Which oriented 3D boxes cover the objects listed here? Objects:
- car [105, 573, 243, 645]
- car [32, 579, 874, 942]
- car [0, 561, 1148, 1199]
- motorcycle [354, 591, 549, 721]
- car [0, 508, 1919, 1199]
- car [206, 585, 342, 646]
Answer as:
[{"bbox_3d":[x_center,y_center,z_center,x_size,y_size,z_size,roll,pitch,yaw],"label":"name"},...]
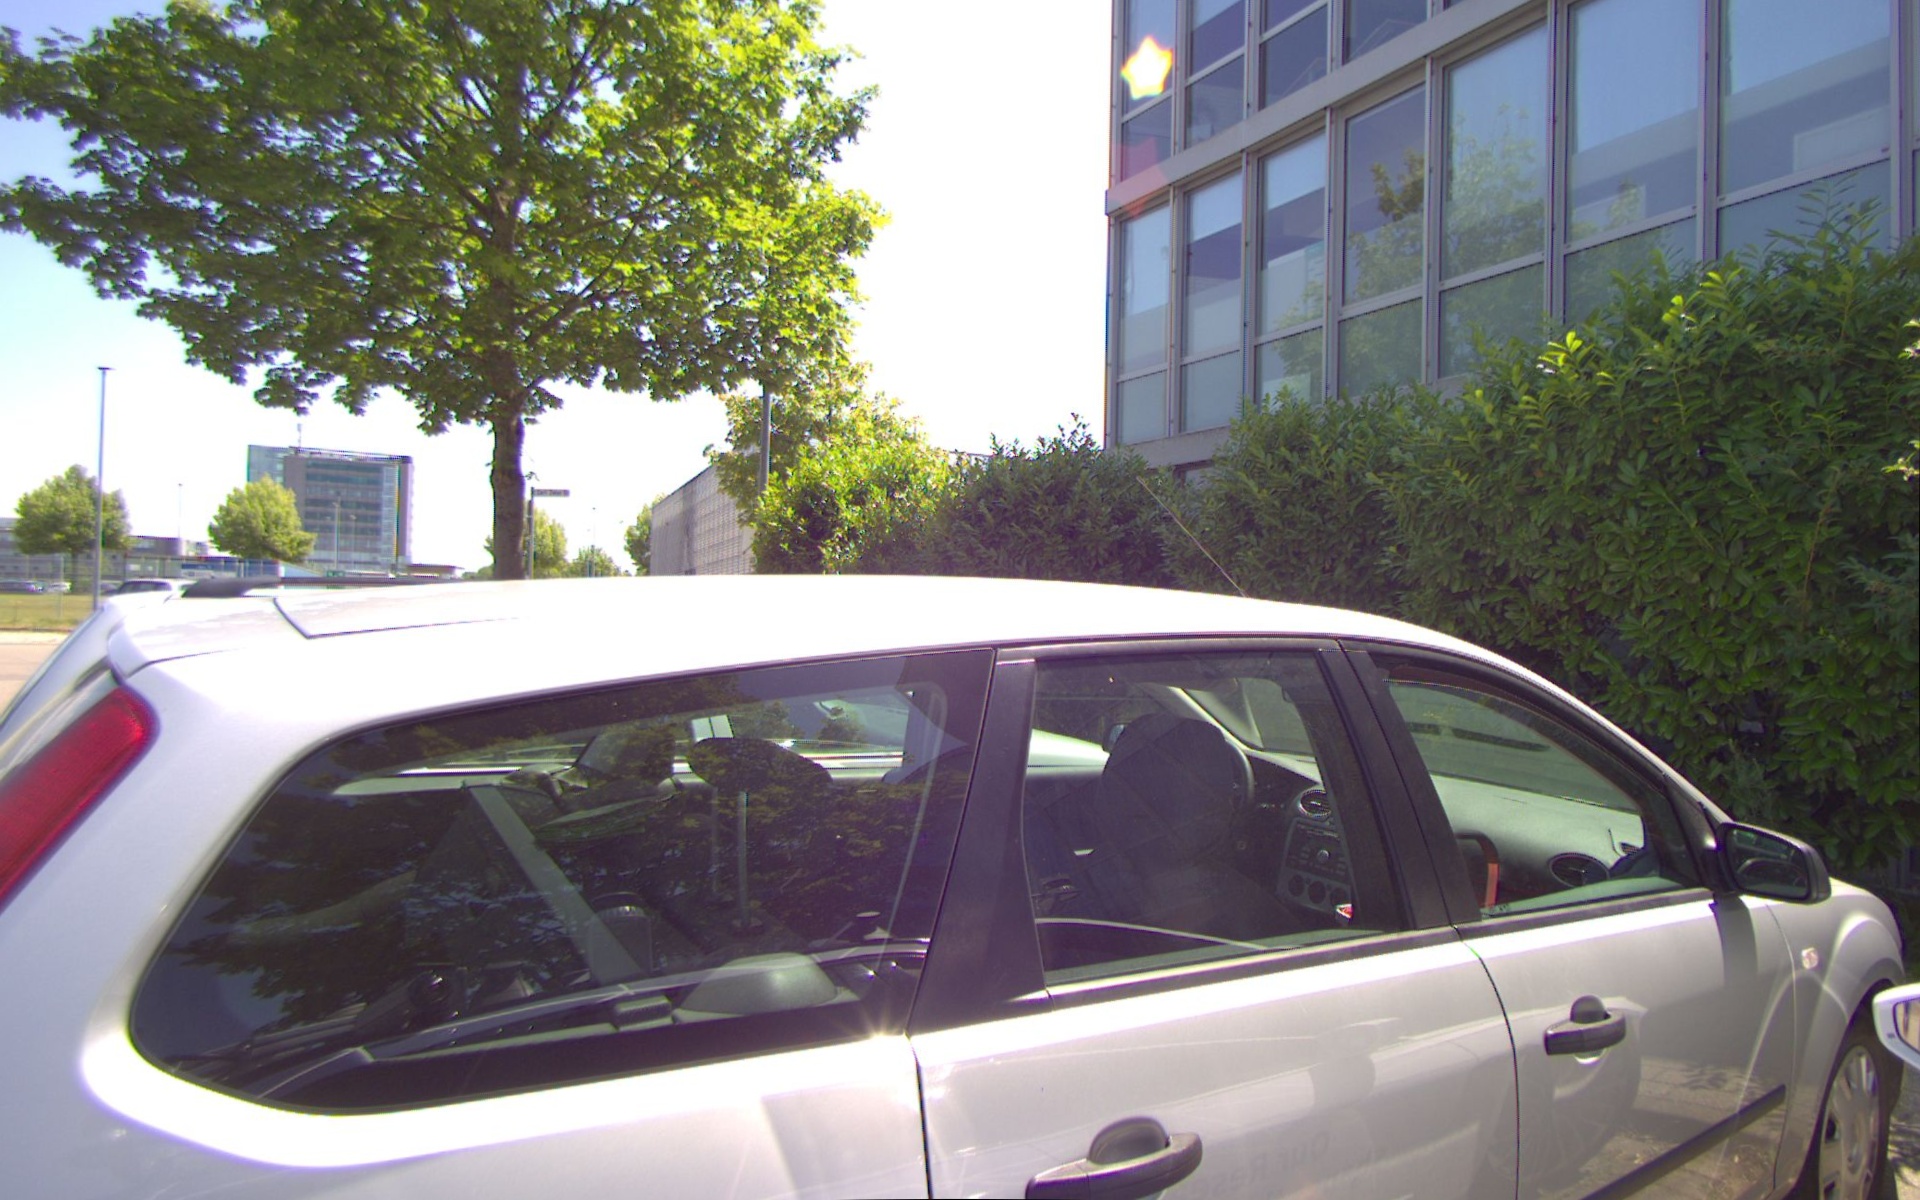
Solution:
[{"bbox_3d":[-21.144,0.225,27.212,1.745,1.761,3.982,1,0,-20],"label":"car"},{"bbox_3d":[-2.584,0.681,5.822,3.851,1.468,1.637,1,0,-34],"label":"car"},{"bbox_3d":[-1.277,0.690,3.766,3.851,1.499,1.637,1,0,-34],"label":"car"},{"bbox_3d":[-5.848,0.615,11.621,1.969,1.408,0.480,1,0,-34],"label":"motorcycle"},{"bbox_3d":[0.374,0.725,2.149,4.299,1.499,1.710,1,0,-31],"label":"car"},{"bbox_3d":[-18.723,0.395,27.628,1.624,1.542,3.991,1,0,-11],"label":"car"}]
